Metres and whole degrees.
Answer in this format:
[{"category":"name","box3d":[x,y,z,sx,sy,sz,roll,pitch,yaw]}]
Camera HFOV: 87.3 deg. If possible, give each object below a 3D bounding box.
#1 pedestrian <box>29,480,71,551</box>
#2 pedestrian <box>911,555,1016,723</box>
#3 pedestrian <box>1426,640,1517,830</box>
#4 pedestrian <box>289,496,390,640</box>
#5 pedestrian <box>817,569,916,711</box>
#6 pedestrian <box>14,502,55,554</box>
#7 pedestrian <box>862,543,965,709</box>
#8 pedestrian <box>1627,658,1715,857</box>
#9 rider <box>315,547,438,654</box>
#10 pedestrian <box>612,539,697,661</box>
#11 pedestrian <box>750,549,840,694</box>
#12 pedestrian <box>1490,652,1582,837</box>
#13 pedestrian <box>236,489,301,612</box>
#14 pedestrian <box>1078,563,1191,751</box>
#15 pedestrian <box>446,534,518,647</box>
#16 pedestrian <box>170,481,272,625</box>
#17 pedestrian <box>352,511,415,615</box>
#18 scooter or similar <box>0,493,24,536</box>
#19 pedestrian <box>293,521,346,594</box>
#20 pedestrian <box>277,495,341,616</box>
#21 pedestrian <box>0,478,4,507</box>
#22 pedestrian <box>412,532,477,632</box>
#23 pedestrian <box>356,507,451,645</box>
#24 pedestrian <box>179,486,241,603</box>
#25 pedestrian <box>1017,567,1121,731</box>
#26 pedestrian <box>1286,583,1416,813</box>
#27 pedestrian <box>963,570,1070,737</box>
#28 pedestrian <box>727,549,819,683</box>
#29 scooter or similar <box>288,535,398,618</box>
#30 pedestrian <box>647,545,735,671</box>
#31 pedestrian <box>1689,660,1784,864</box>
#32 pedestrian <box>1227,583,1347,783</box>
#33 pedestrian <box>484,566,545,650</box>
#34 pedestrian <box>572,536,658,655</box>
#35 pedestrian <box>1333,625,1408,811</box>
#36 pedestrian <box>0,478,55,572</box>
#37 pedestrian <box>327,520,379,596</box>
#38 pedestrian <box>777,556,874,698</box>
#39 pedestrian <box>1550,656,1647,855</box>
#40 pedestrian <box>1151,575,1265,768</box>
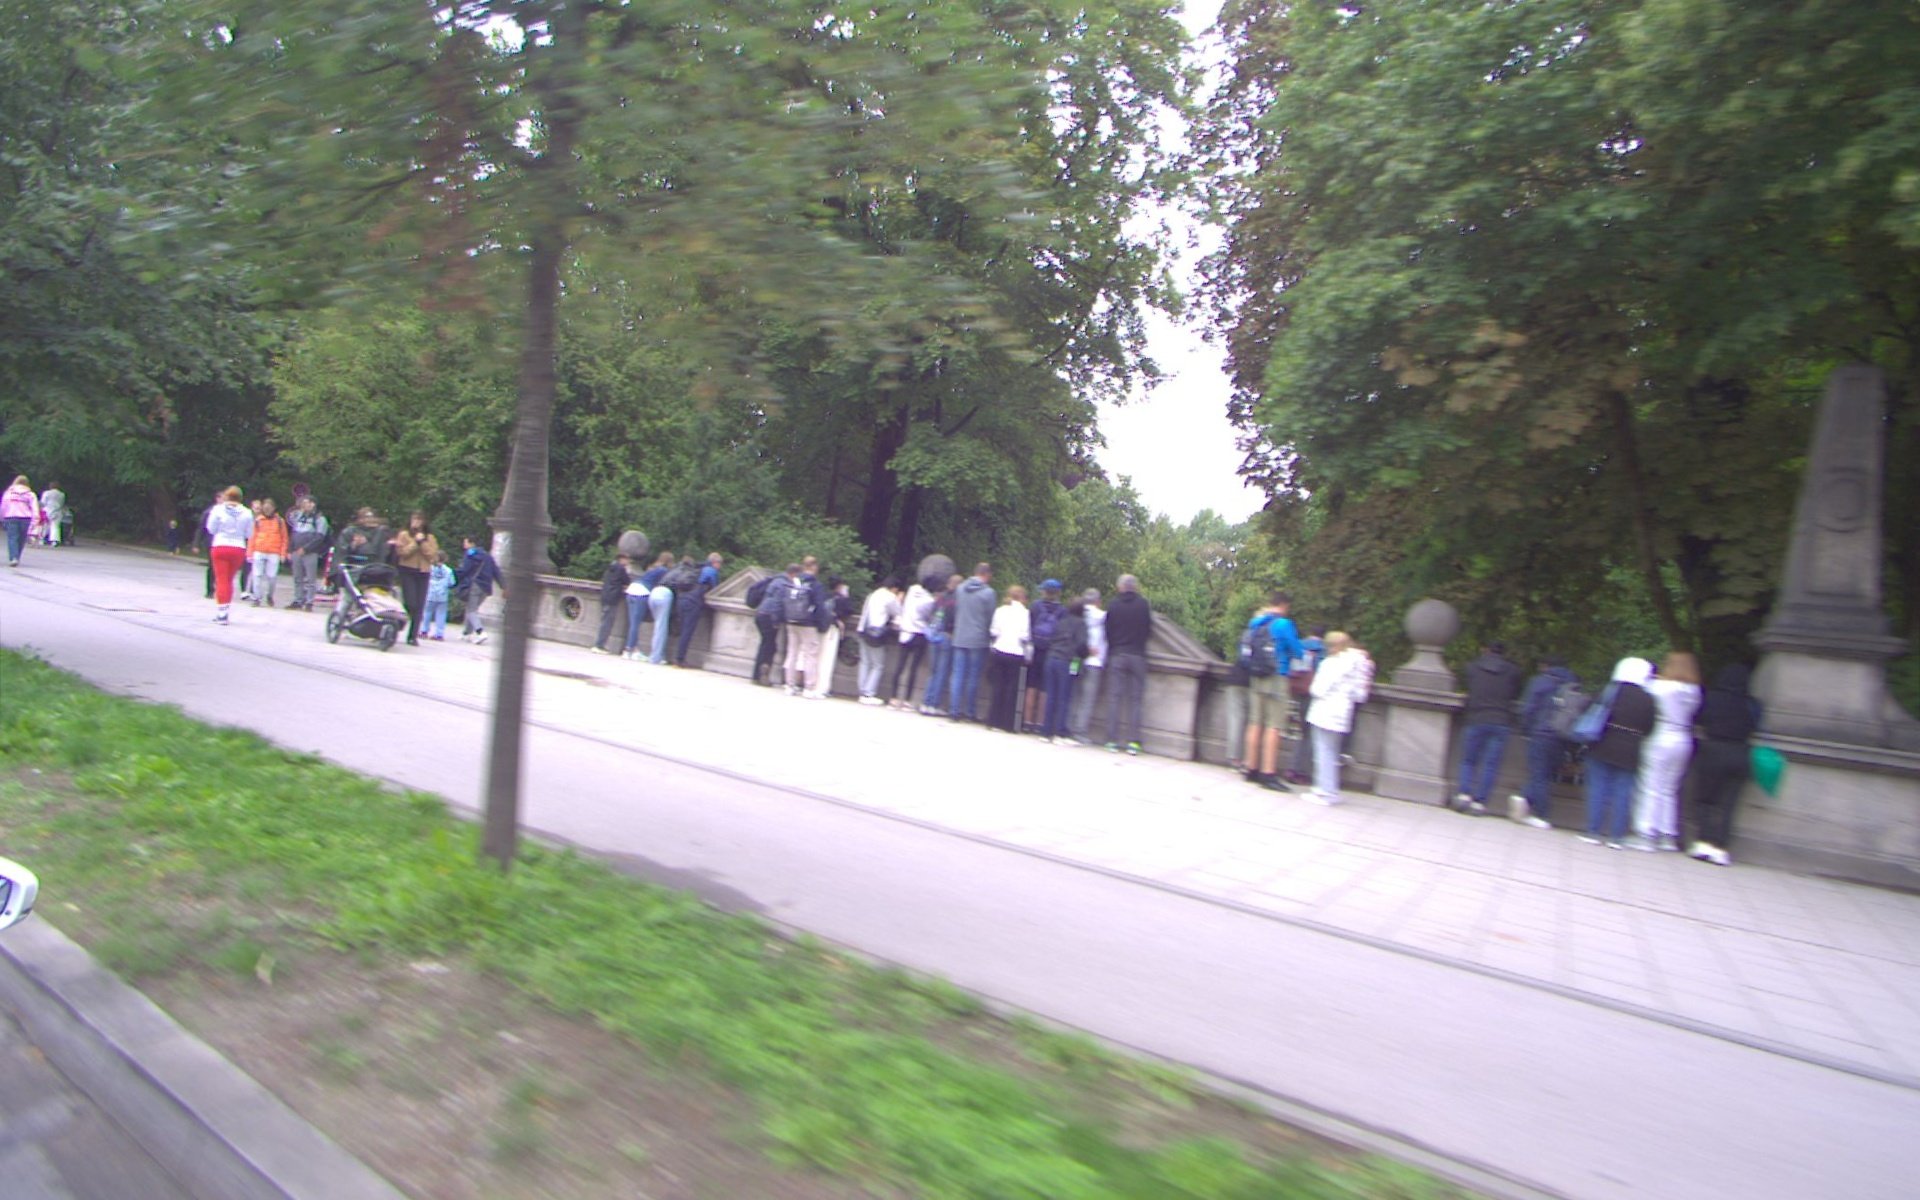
[{"category":"pedestrian","box3d":[-23.289,-2.157,25.738,0.629,1.686,0.566,8,-1,-43]},{"category":"pedestrian","box3d":[0.050,0.483,12.085,0.717,1.896,0.813,6,-1,34]},{"category":"pedestrian","box3d":[4.745,1.234,9.318,0.524,1.635,0.637,6,-1,34]},{"category":"pedestrian","box3d":[-7.850,-0.398,12.737,0.638,1.710,0.726,6,-1,37]},{"category":"pedestrian","box3d":[-1.197,0.525,12.932,0.717,1.710,0.813,6,-1,34]},{"category":"pedestrian","box3d":[-22.326,-1.736,24.277,0.629,1.150,0.566,8,-1,-43]},{"category":"pedestrian","box3d":[-0.569,0.332,12.497,0.717,1.939,0.813,6,-1,34]},{"category":"pedestrian","box3d":[5.804,1.273,8.231,0.435,1.525,0.421,6,-1,34]},{"category":"rider","box3d":[-7.079,0.003,12.198,1.225,1.125,0.765,6,-2,37]},{"category":"pedestrian","box3d":[-4.569,0.011,15.044,0.717,1.712,0.812,6,1,34]},{"category":"pedestrian","box3d":[-2.066,0.277,12.611,0.717,1.710,0.592,6,-1,34]},{"category":"pedestrian","box3d":[5.153,1.275,8.987,0.524,1.525,0.637,6,-1,34]},{"category":"pedestrian","box3d":[-11.460,-0.815,16.669,0.607,1.937,0.685,8,-1,-41]},{"category":"pedestrian","box3d":[1.868,0.613,10.735,0.717,1.873,0.813,6,-1,34]},{"category":"pedestrian","box3d":[-6.972,-0.142,14.664,0.638,1.545,0.549,6,-1,37]},{"category":"pedestrian","box3d":[-9.384,-0.593,12.786,0.638,1.710,0.726,6,-1,37]},{"category":"pedestrian","box3d":[-11.059,-0.693,19.324,0.600,1.894,0.693,7,-1,-3]},{"category":"scooter or similar","box3d":[-28.982,-2.608,30.549,1.199,1.213,0.418,6,-1,33]},{"category":"pedestrian","box3d":[-15.040,-0.992,23.637,0.600,1.596,0.693,7,-1,-3]},{"category":"pedestrian","box3d":[-10.784,-0.732,16.662,0.607,1.894,0.685,8,-1,-41]},{"category":"pedestrian","box3d":[-18.445,-1.510,18.728,0.752,1.663,0.840,8,-1,-43]},{"category":"pedestrian","box3d":[-7.373,-0.254,14.385,0.638,1.342,0.458,6,-1,37]},{"category":"pedestrian","box3d":[-7.363,-0.308,13.327,0.638,1.710,0.726,6,-1,37]},{"category":"pedestrian","box3d":[-12.834,-0.949,17.205,0.607,1.894,0.685,8,-1,-41]},{"category":"pedestrian","box3d":[1.225,0.552,11.203,0.663,1.710,0.813,6,-1,34]},{"category":"pedestrian","box3d":[3.440,0.847,8.830,0.717,1.850,0.813,6,-1,34]},{"category":"pedestrian","box3d":[0.662,0.623,11.662,0.717,1.811,0.813,6,-1,34]},{"category":"pedestrian","box3d":[-2.526,0.224,13.600,0.717,1.712,0.812,6,1,34]},{"category":"scooter or similar","box3d":[-11.172,-0.414,18.267,1.549,1.270,0.346,8,-1,-28]},{"category":"pedestrian","box3d":[-3.911,0.125,14.643,0.717,1.711,0.812,6,0,34]},{"category":"pedestrian","box3d":[6.181,1.276,8.027,0.435,1.525,0.421,6,-1,34]},{"category":"pedestrian","box3d":[3.166,0.794,9.720,0.717,1.788,0.813,6,-1,34]},{"category":"pedestrian","box3d":[-6.671,0.119,15.075,0.638,1.166,0.458,6,-1,37]},{"category":"pedestrian","box3d":[-5.349,-0.066,15.618,0.717,1.710,0.813,6,-1,34]},{"category":"pedestrian","box3d":[4.015,1.143,9.830,0.435,1.723,0.421,6,-1,33]},{"category":"pedestrian","box3d":[-17.915,-1.421,19.239,0.752,1.663,0.840,8,-1,-43]},{"category":"pedestrian","box3d":[-14.256,-0.970,23.656,0.600,1.671,0.693,7,-1,-1]},{"category":"pedestrian","box3d":[-1.779,0.362,13.327,0.717,1.759,0.813,6,-1,34]},{"category":"pedestrian","box3d":[5.342,1.277,8.414,0.524,1.525,0.637,6,-1,34]},{"category":"pedestrian","box3d":[2.591,0.744,10.475,0.717,1.873,0.813,6,-1,34]}]
